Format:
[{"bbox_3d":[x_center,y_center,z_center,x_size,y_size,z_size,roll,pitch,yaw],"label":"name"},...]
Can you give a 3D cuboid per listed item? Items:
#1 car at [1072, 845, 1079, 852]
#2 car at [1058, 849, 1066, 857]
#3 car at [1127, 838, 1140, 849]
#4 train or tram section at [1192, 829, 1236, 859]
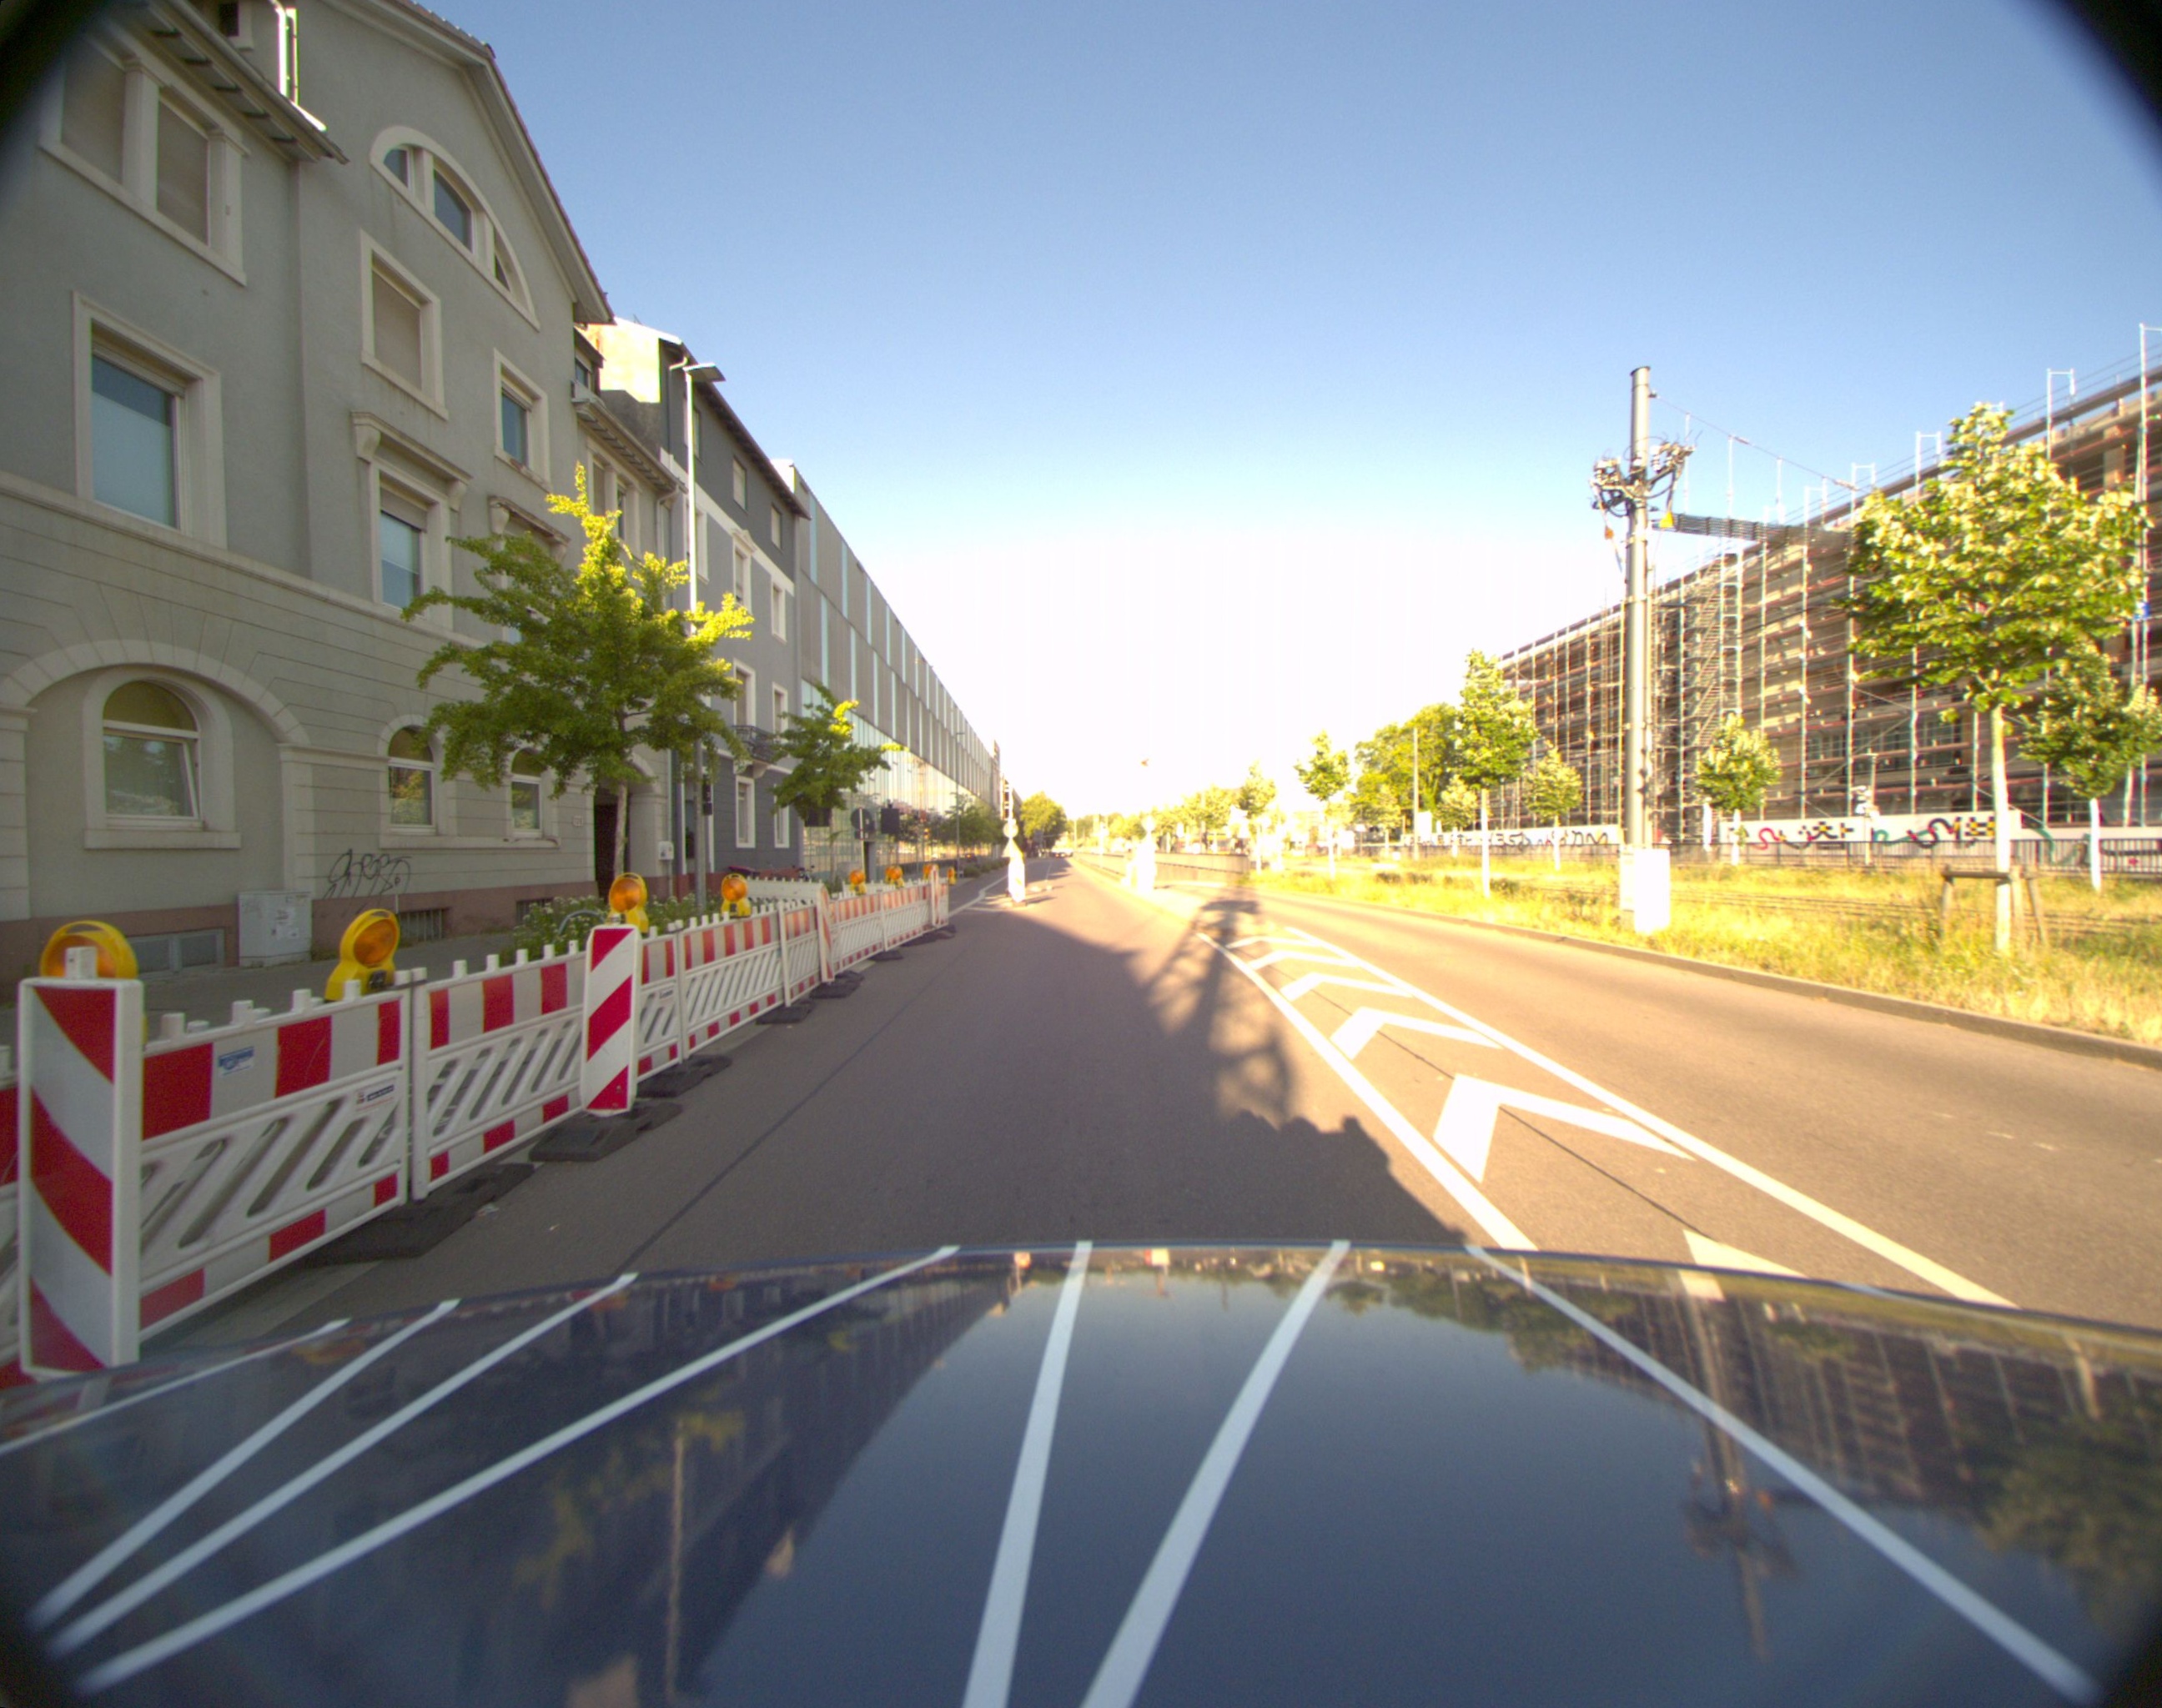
[{"bbox_3d":[-1.566,-1.618,232.213,1.941,2.002,3.825,-1,1,-3],"label":"car"},{"bbox_3d":[-4.652,-0.214,188.155,1.941,2.002,3.825,-1,1,-3],"label":"car"},{"bbox_3d":[9.031,-1.866,130.703,1.998,1.740,3.999,-2,1,1],"label":"car"},{"bbox_3d":[16.527,-1.307,95.359,2.954,3.378,12.629,-2,1,-2],"label":"train or tram section"}]
